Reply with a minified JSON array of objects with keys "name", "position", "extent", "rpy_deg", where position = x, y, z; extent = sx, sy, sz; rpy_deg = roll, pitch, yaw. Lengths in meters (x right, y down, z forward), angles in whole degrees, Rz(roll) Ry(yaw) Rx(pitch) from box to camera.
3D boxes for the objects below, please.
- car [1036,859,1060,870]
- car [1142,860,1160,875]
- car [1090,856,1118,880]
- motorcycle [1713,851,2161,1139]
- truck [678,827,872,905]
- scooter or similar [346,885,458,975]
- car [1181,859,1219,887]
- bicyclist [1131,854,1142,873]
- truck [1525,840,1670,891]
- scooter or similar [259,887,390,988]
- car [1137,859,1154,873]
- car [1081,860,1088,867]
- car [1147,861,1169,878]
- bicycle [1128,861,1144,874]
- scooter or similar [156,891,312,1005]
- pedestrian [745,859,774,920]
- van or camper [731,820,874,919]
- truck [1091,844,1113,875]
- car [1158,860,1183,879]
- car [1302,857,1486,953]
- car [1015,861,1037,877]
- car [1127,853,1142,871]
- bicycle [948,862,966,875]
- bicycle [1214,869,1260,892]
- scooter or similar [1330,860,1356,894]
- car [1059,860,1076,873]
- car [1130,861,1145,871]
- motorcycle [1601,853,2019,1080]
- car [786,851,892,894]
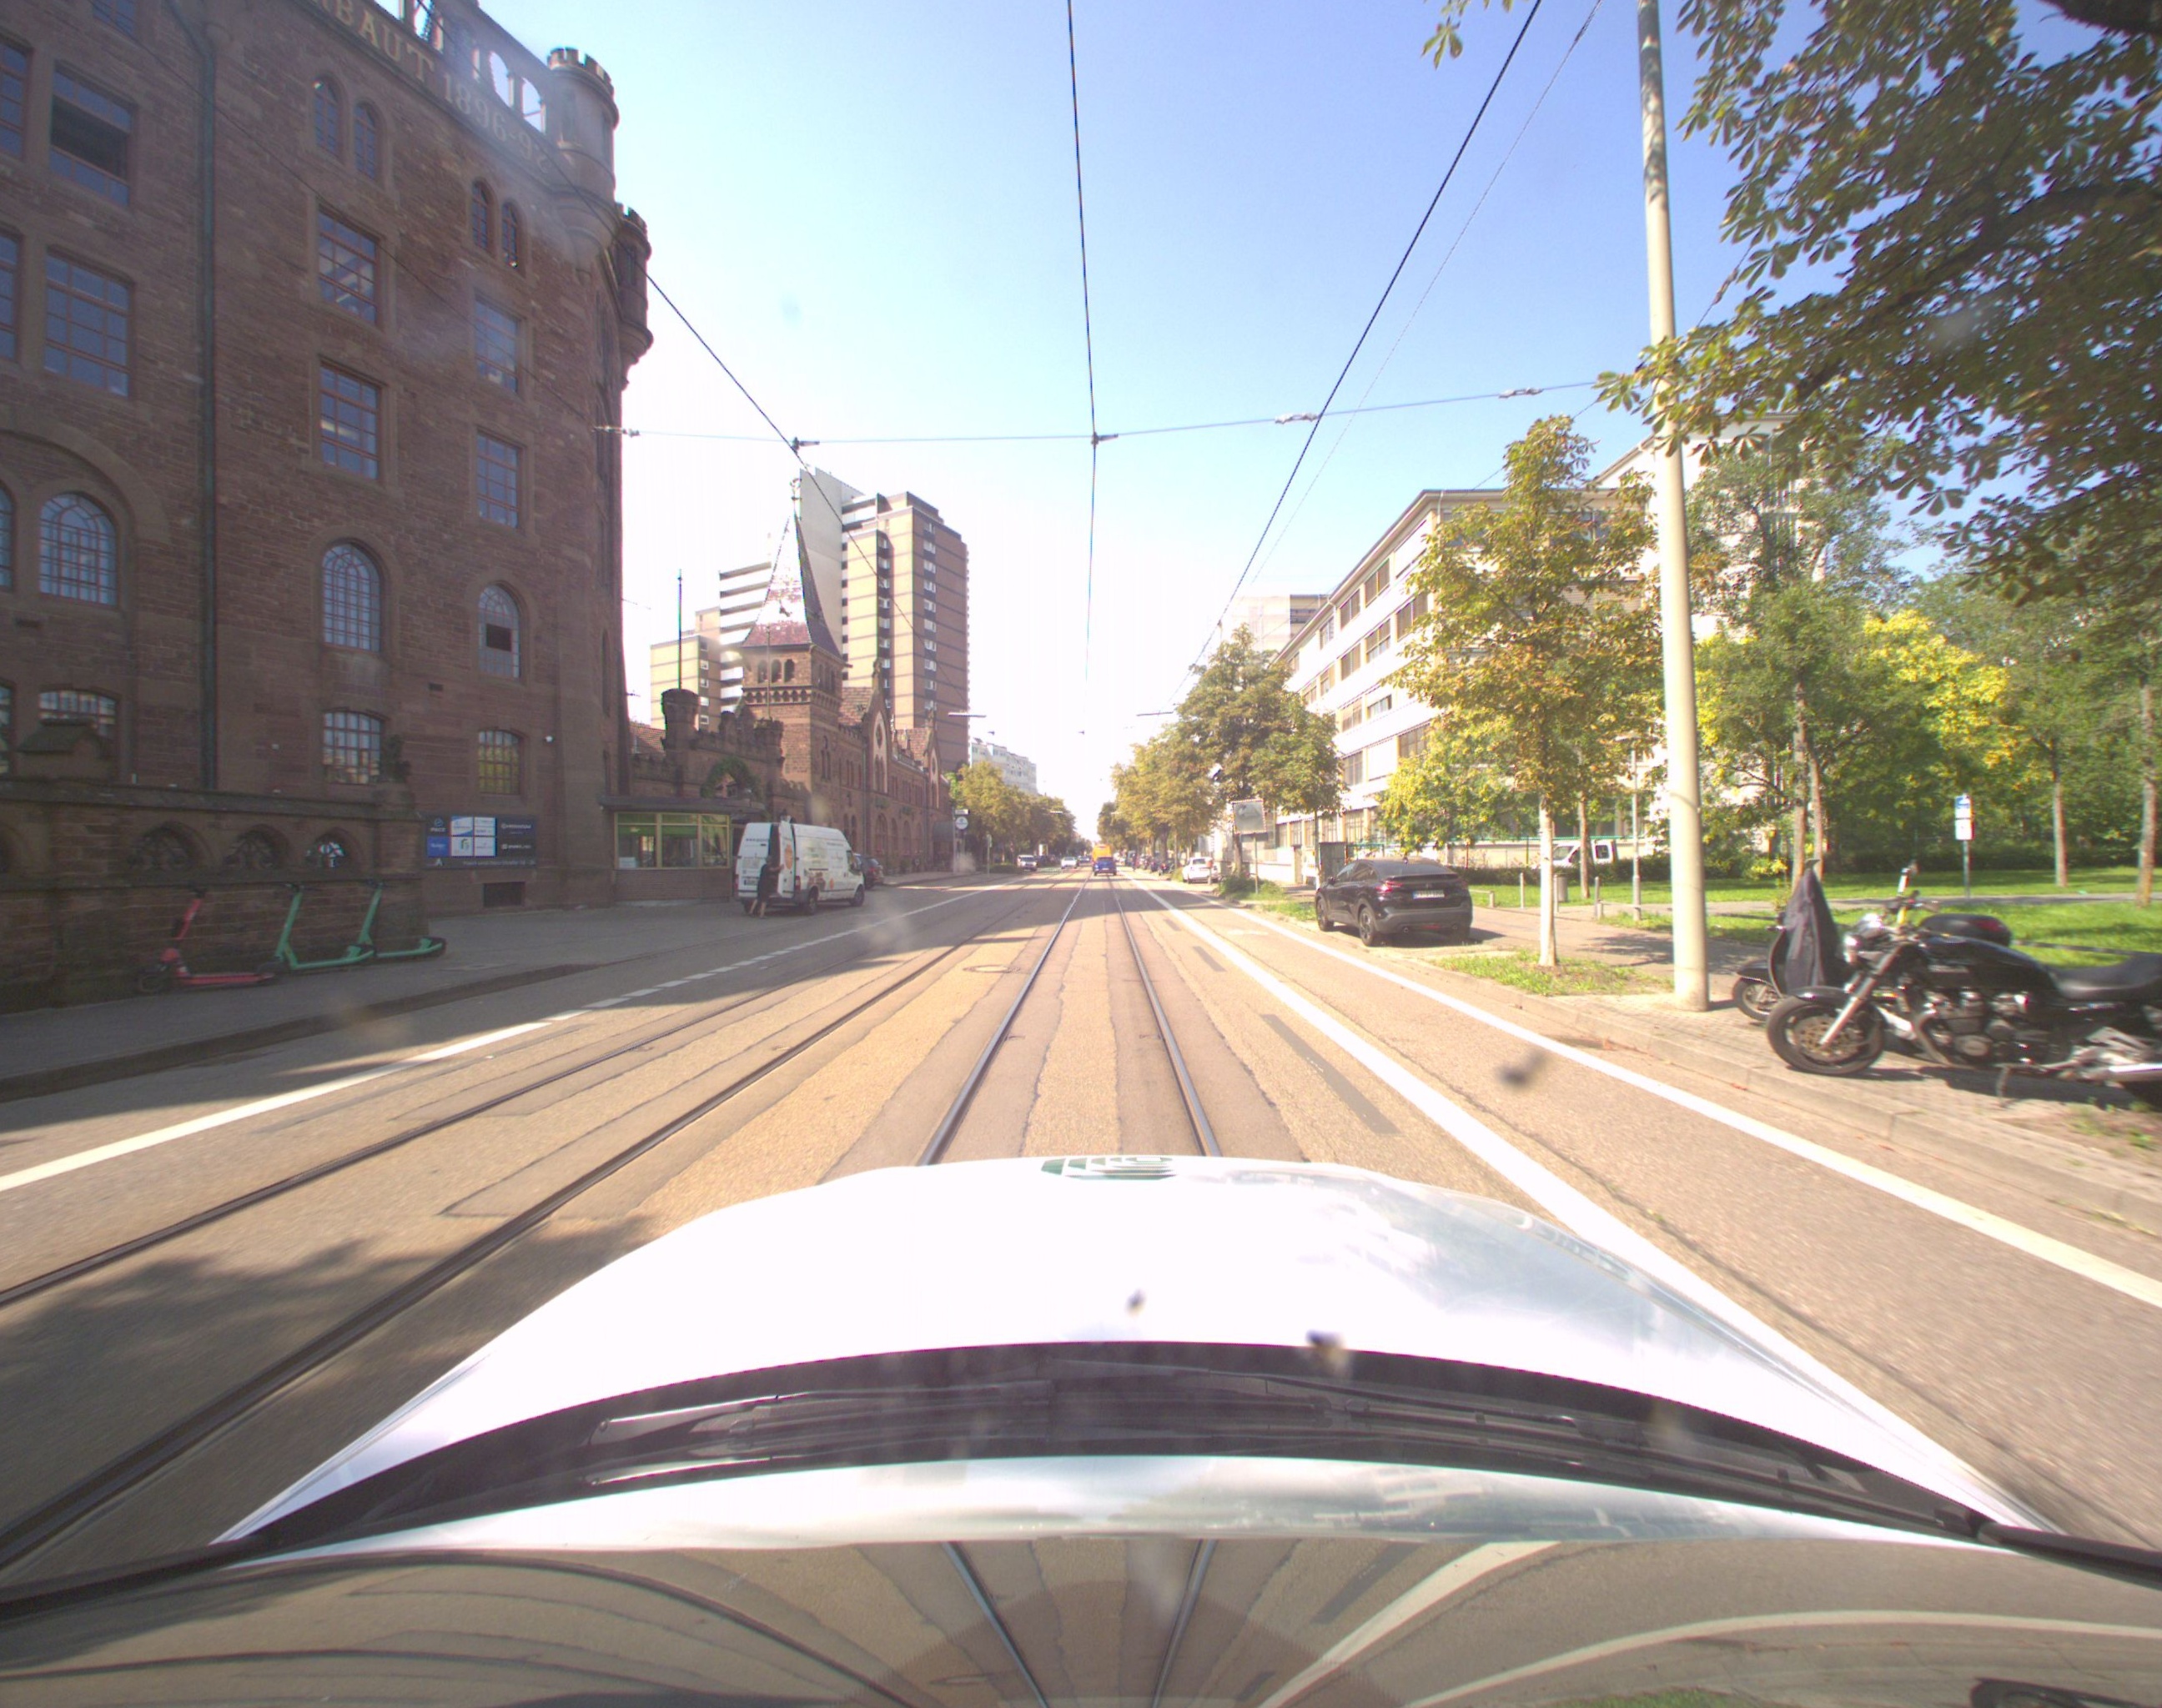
[{"name":"car","position":[-6.047,1.900,149.646],"extent":[4.021,2.014,1.834],"rpy_deg":[0,-1,-42]},{"name":"car","position":[7.680,1.434,89.601],"extent":[1.628,1.585,4.188],"rpy_deg":[0,0,0]},{"name":"car","position":[1.850,1.095,65.296],"extent":[2.128,1.858,5.570],"rpy_deg":[-1,0,2]},{"name":"motorcycle","position":[5.465,0.750,5.031],"extent":[2.423,1.516,0.858],"rpy_deg":[-1,-1,40]},{"name":"truck","position":[-11.215,0.395,30.088],"extent":[6.289,2.538,2.134],"rpy_deg":[2,1,6]},{"name":"scooter or similar","position":[-9.680,1.050,11.645],"extent":[0.336,1.178,1.185],"rpy_deg":[-1,-1,27]},{"name":"car","position":[6.755,1.071,46.572],"extent":[1.653,1.481,4.218],"rpy_deg":[-1,-1,2]},{"name":"bicyclist","position":[5.403,0.923,79.677],"extent":[1.028,1.812,1.016],"rpy_deg":[0,-1,1]},{"name":"truck","position":[24.626,0.552,39.009],"extent":[5.485,2.326,2.300],"rpy_deg":[0,-1,2]},{"name":"scooter or similar","position":[-9.726,1.043,10.511],"extent":[0.336,1.178,1.185],"rpy_deg":[-1,-1,27]},{"name":"car","position":[7.864,1.458,99.696],"extent":[1.734,1.668,4.361],"rpy_deg":[0,0,0]},{"name":"car","position":[0.966,2.374,206.119],"extent":[1.774,1.684,4.347],"rpy_deg":[0,-1,0]},{"name":"car","position":[7.209,1.426,76.504],"extent":[1.736,1.556,4.218],"rpy_deg":[-1,-1,2]},{"name":"bicycle","position":[5.370,1.302,79.675],"extent":[1.396,1.134,4.001],"rpy_deg":[-1,0,1]},{"name":"scooter or similar","position":[-9.668,1.034,9.338],"extent":[0.336,1.178,1.185],"rpy_deg":[-1,-1,27]},{"name":"pedestrian","position":[-8.637,0.943,21.868],"extent":[0.492,1.599,0.555],"rpy_deg":[-1,-1,43]},{"name":"van or camper","position":[-8.372,0.439,25.197],"extent":[2.104,2.675,5.959],"rpy_deg":[0,0,3]},{"name":"truck","position":[2.213,0.576,84.376],"extent":[2.128,3.124,6.086],"rpy_deg":[-1,-1,2]},{"name":"car","position":[7.085,1.229,64.954],"extent":[1.653,1.408,4.218],"rpy_deg":[-1,-1,2]},{"name":"car","position":[5.774,0.854,15.695],"extent":[1.750,1.515,4.609],"rpy_deg":[-2,-1,0]},{"name":"car","position":[-6.334,1.755,93.581],"extent":[1.751,1.796,3.978],"rpy_deg":[0,-1,-16]},{"name":"car","position":[8.548,1.245,130.814],"extent":[1.987,2.756,5.761],"rpy_deg":[0,0,0]},{"name":"bicycle","position":[-11.121,1.307,73.052],"extent":[1.447,1.093,0.399],"rpy_deg":[3,-1,-3]},{"name":"bicycle","position":[6.460,1.102,33.812],"extent":[1.805,0.958,0.558],"rpy_deg":[0,-1,1]},{"name":"scooter or similar","position":[10.104,0.858,31.444],"extent":[0.553,1.259,1.820],"rpy_deg":[0,0,4]},{"name":"car","position":[-1.629,1.576,102.051],"extent":[1.840,1.492,4.869],"rpy_deg":[-1,0,2]},{"name":"car","position":[8.279,1.772,120.215],"extent":[1.901,1.431,4.292],"rpy_deg":[0,0,0]},{"name":"motorcycle","position":[5.775,0.759,6.727],"extent":[0.854,1.516,2.436],"rpy_deg":[0,-1,-23]},{"name":"car","position":[-10.954,0.821,37.060],"extent":[4.120,1.743,2.001],"rpy_deg":[2,0,2]}]
